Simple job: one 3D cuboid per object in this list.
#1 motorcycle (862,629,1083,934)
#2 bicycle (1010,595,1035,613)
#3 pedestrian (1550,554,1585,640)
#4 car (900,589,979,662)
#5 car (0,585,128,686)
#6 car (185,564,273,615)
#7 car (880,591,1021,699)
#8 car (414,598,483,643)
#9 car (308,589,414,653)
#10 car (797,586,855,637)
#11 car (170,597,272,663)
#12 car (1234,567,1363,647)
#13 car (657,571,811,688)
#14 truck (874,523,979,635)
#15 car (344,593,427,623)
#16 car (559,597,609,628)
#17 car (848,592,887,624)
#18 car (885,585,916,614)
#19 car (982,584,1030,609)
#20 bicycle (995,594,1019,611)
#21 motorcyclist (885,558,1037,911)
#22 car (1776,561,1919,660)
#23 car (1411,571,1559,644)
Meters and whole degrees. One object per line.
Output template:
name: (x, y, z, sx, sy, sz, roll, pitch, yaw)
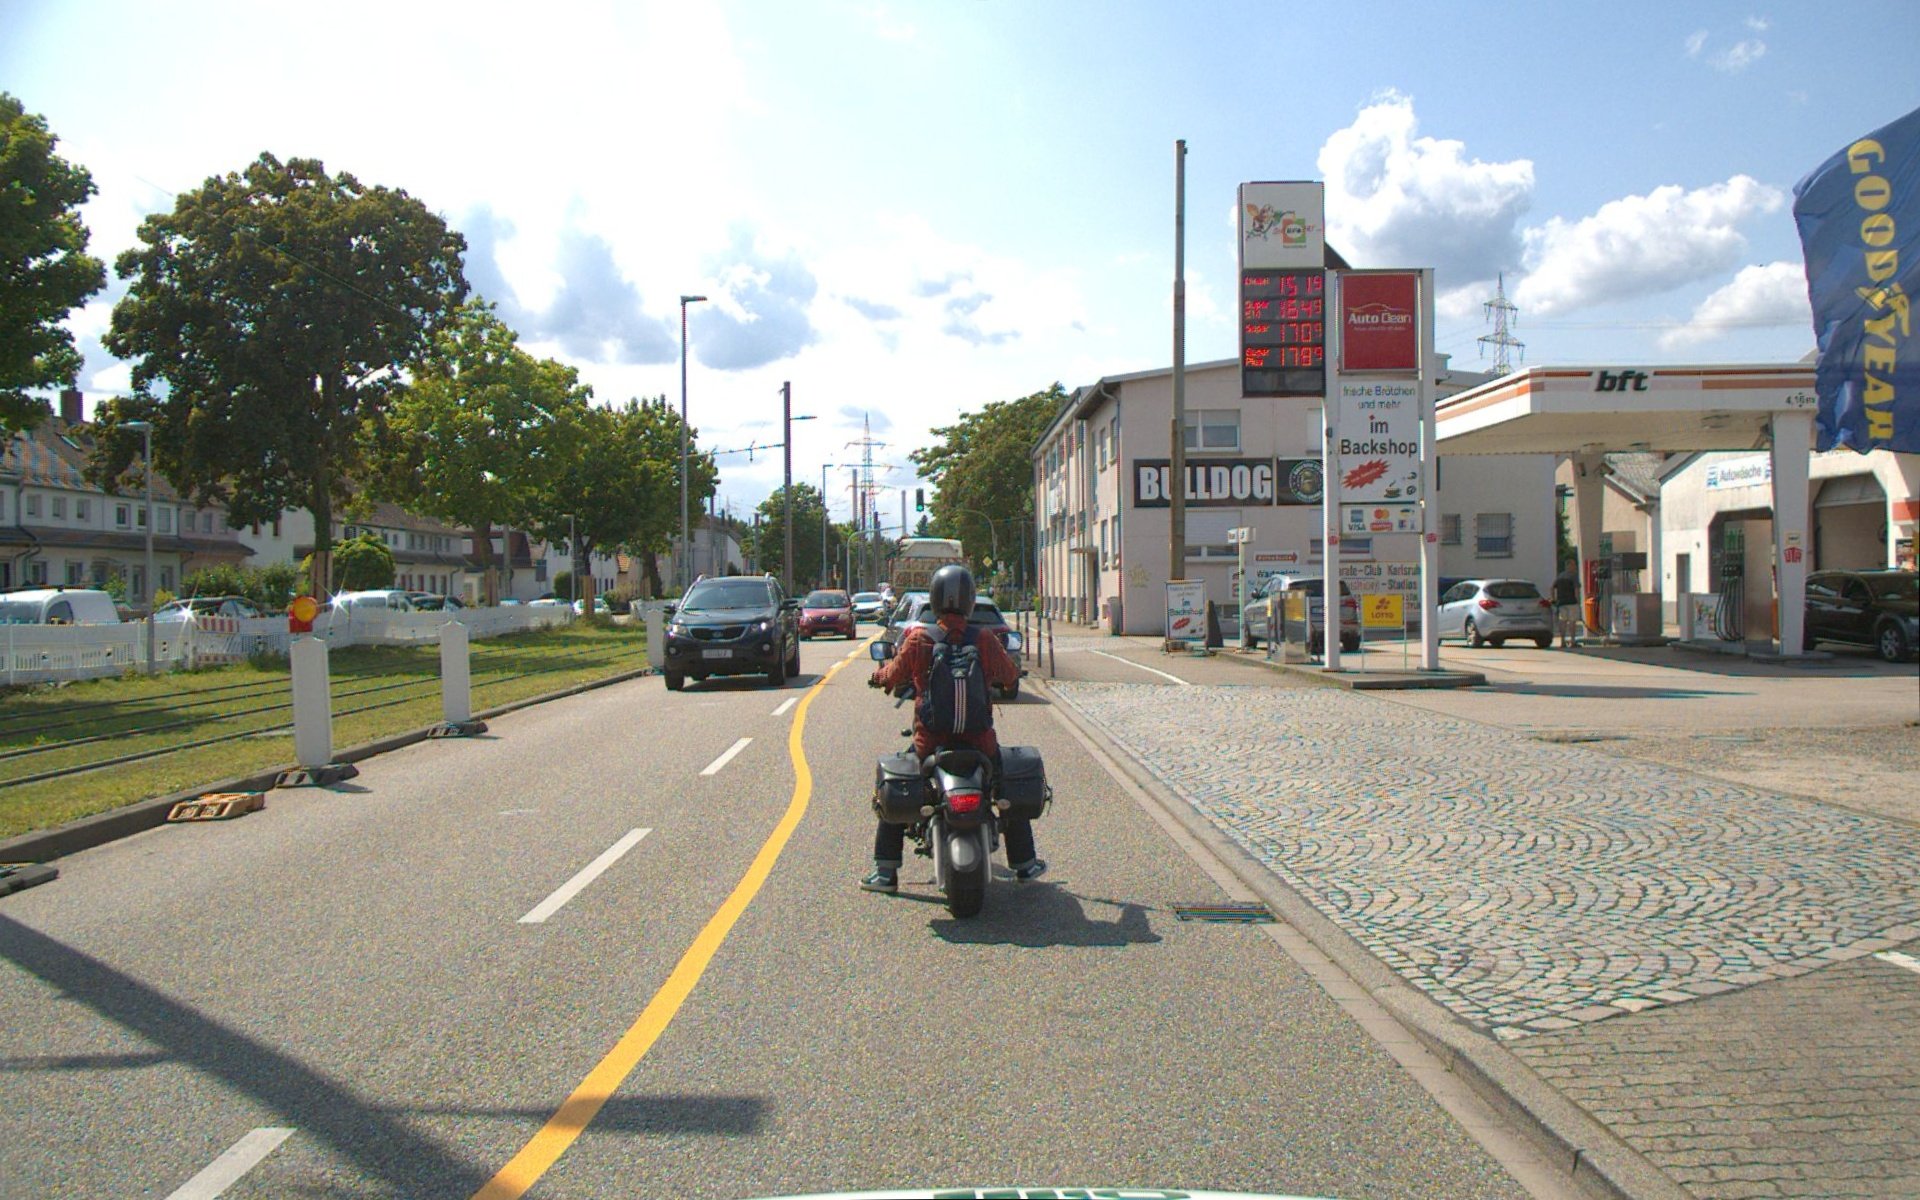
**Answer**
motorcycle: (0.038, 0.798, 8.300, 0.923, 1.221, 2.472, 1, 0, -1)
bicycle: (4.387, 0.283, 116.053, 1.672, 1.192, 0.438, 1, -1, 4)
pedestrian: (12.995, -0.067, 35.398, 0.487, 1.807, 0.577, 1, -1, -4)
car: (-0.403, 0.515, 36.004, 1.610, 1.469, 3.748, 1, 1, 0)
car: (-16.393, 0.611, 28.986, 1.619, 1.654, 4.000, -2, 0, -1)
car: (-30.465, -0.419, 69.040, 1.953, 2.049, 3.999, 1, 0, -2)
car: (-0.223, 0.602, 24.381, 1.698, 1.428, 4.082, 1, 0, -5)
car: (-16.763, 0.663, 54.317, 1.322, 1.401, 3.113, -2, 0, -1)
car: (-16.846, 0.573, 46.664, 1.590, 1.680, 3.898, -2, 0, -1)
car: (-4.124, 0.342, 51.368, 1.546, 1.495, 3.719, 1, 0, -1)
car: (-16.346, 0.650, 36.677, 1.050, 1.371, 2.449, -2, 0, 3)
car: (7.400, 0.130, 36.603, 1.906, 1.653, 4.616, 0, 0, 0)
car: (-3.556, 0.431, 26.768, 1.759, 1.719, 4.222, -1, 0, 2)
truck: (-0.935, -0.596, 52.494, 2.906, 3.228, 7.765, 1, 0, 2)
car: (-31.344, 0.408, 90.257, 3.906, 1.536, 1.725, -1, 0, -2)
car: (-17.071, 0.567, 75.186, 1.491, 1.378, 3.620, 1, 0, -1)
car: (-4.482, 0.373, 80.515, 1.784, 1.470, 4.482, -2, 0, -2)
car: (-3.617, -0.017, 101.805, 1.787, 1.695, 4.461, -2, 0, -1)
car: (3.822, -0.280, 136.270, 1.773, 1.959, 3.972, 0, -1, 44)
bicycle: (3.359, 0.163, 117.342, 1.672, 1.192, 0.438, 1, -1, 4)
motorcyclist: (0.002, 0.629, 8.063, 0.684, 1.632, 0.692, 1, -1, -1)
car: (16.424, 0.116, 29.321, 1.648, 1.546, 4.492, -1, 2, -1)
car: (11.703, 0.169, 37.183, 1.658, 1.496, 4.420, -2, 0, -4)
